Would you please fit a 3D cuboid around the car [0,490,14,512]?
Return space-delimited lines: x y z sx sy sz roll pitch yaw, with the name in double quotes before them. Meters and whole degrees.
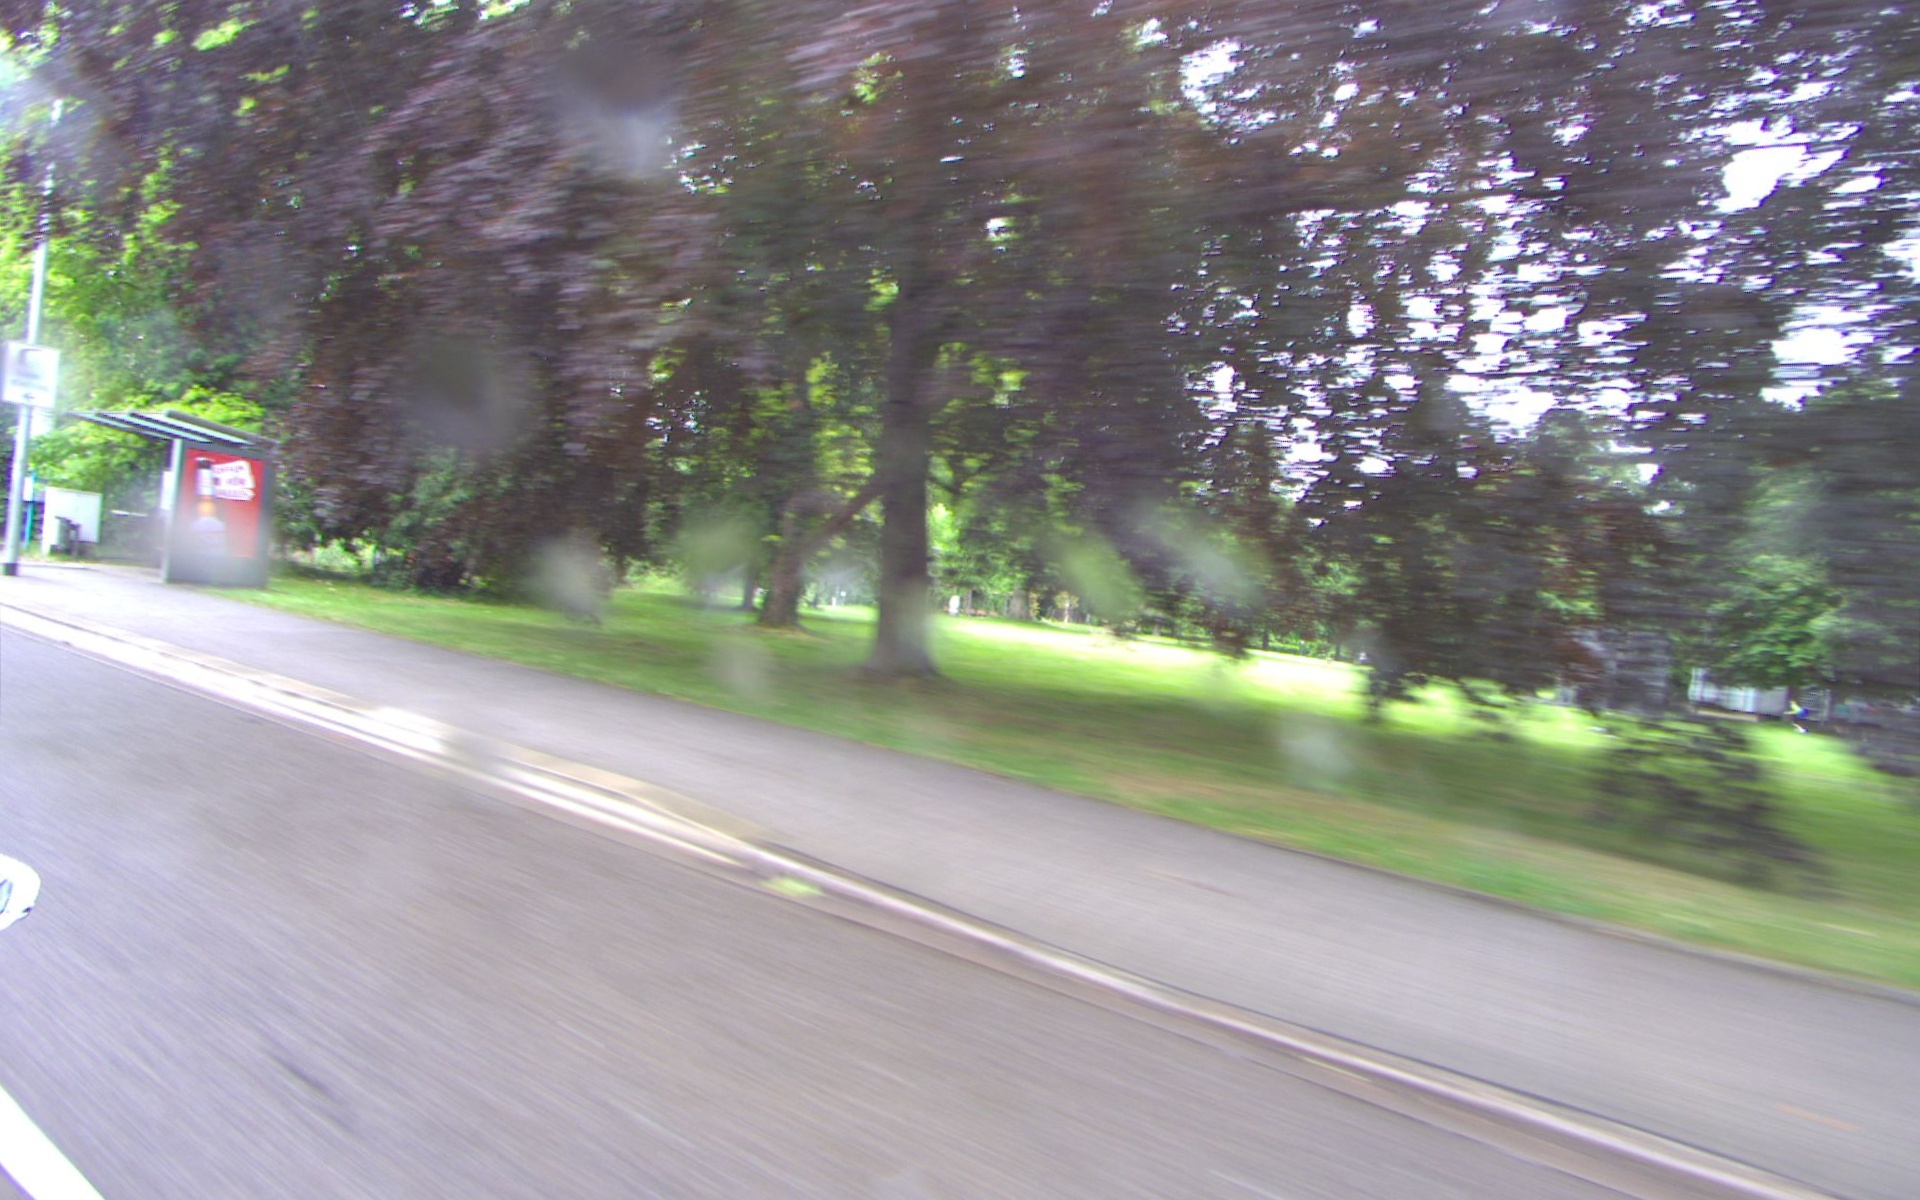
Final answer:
"car" -67.351 -7.027 68.084 1.782 1.393 4.454 9 1 15

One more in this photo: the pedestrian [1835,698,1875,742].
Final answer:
"pedestrian" 39.760 5.307 44.720 0.843 1.783 0.841 8 -2 -2

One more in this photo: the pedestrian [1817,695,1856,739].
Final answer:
"pedestrian" 38.794 5.162 44.516 0.845 1.783 0.838 8 -2 -17

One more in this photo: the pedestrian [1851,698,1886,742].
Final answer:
"pedestrian" 38.935 5.135 43.114 0.758 1.783 0.841 7 -2 26
